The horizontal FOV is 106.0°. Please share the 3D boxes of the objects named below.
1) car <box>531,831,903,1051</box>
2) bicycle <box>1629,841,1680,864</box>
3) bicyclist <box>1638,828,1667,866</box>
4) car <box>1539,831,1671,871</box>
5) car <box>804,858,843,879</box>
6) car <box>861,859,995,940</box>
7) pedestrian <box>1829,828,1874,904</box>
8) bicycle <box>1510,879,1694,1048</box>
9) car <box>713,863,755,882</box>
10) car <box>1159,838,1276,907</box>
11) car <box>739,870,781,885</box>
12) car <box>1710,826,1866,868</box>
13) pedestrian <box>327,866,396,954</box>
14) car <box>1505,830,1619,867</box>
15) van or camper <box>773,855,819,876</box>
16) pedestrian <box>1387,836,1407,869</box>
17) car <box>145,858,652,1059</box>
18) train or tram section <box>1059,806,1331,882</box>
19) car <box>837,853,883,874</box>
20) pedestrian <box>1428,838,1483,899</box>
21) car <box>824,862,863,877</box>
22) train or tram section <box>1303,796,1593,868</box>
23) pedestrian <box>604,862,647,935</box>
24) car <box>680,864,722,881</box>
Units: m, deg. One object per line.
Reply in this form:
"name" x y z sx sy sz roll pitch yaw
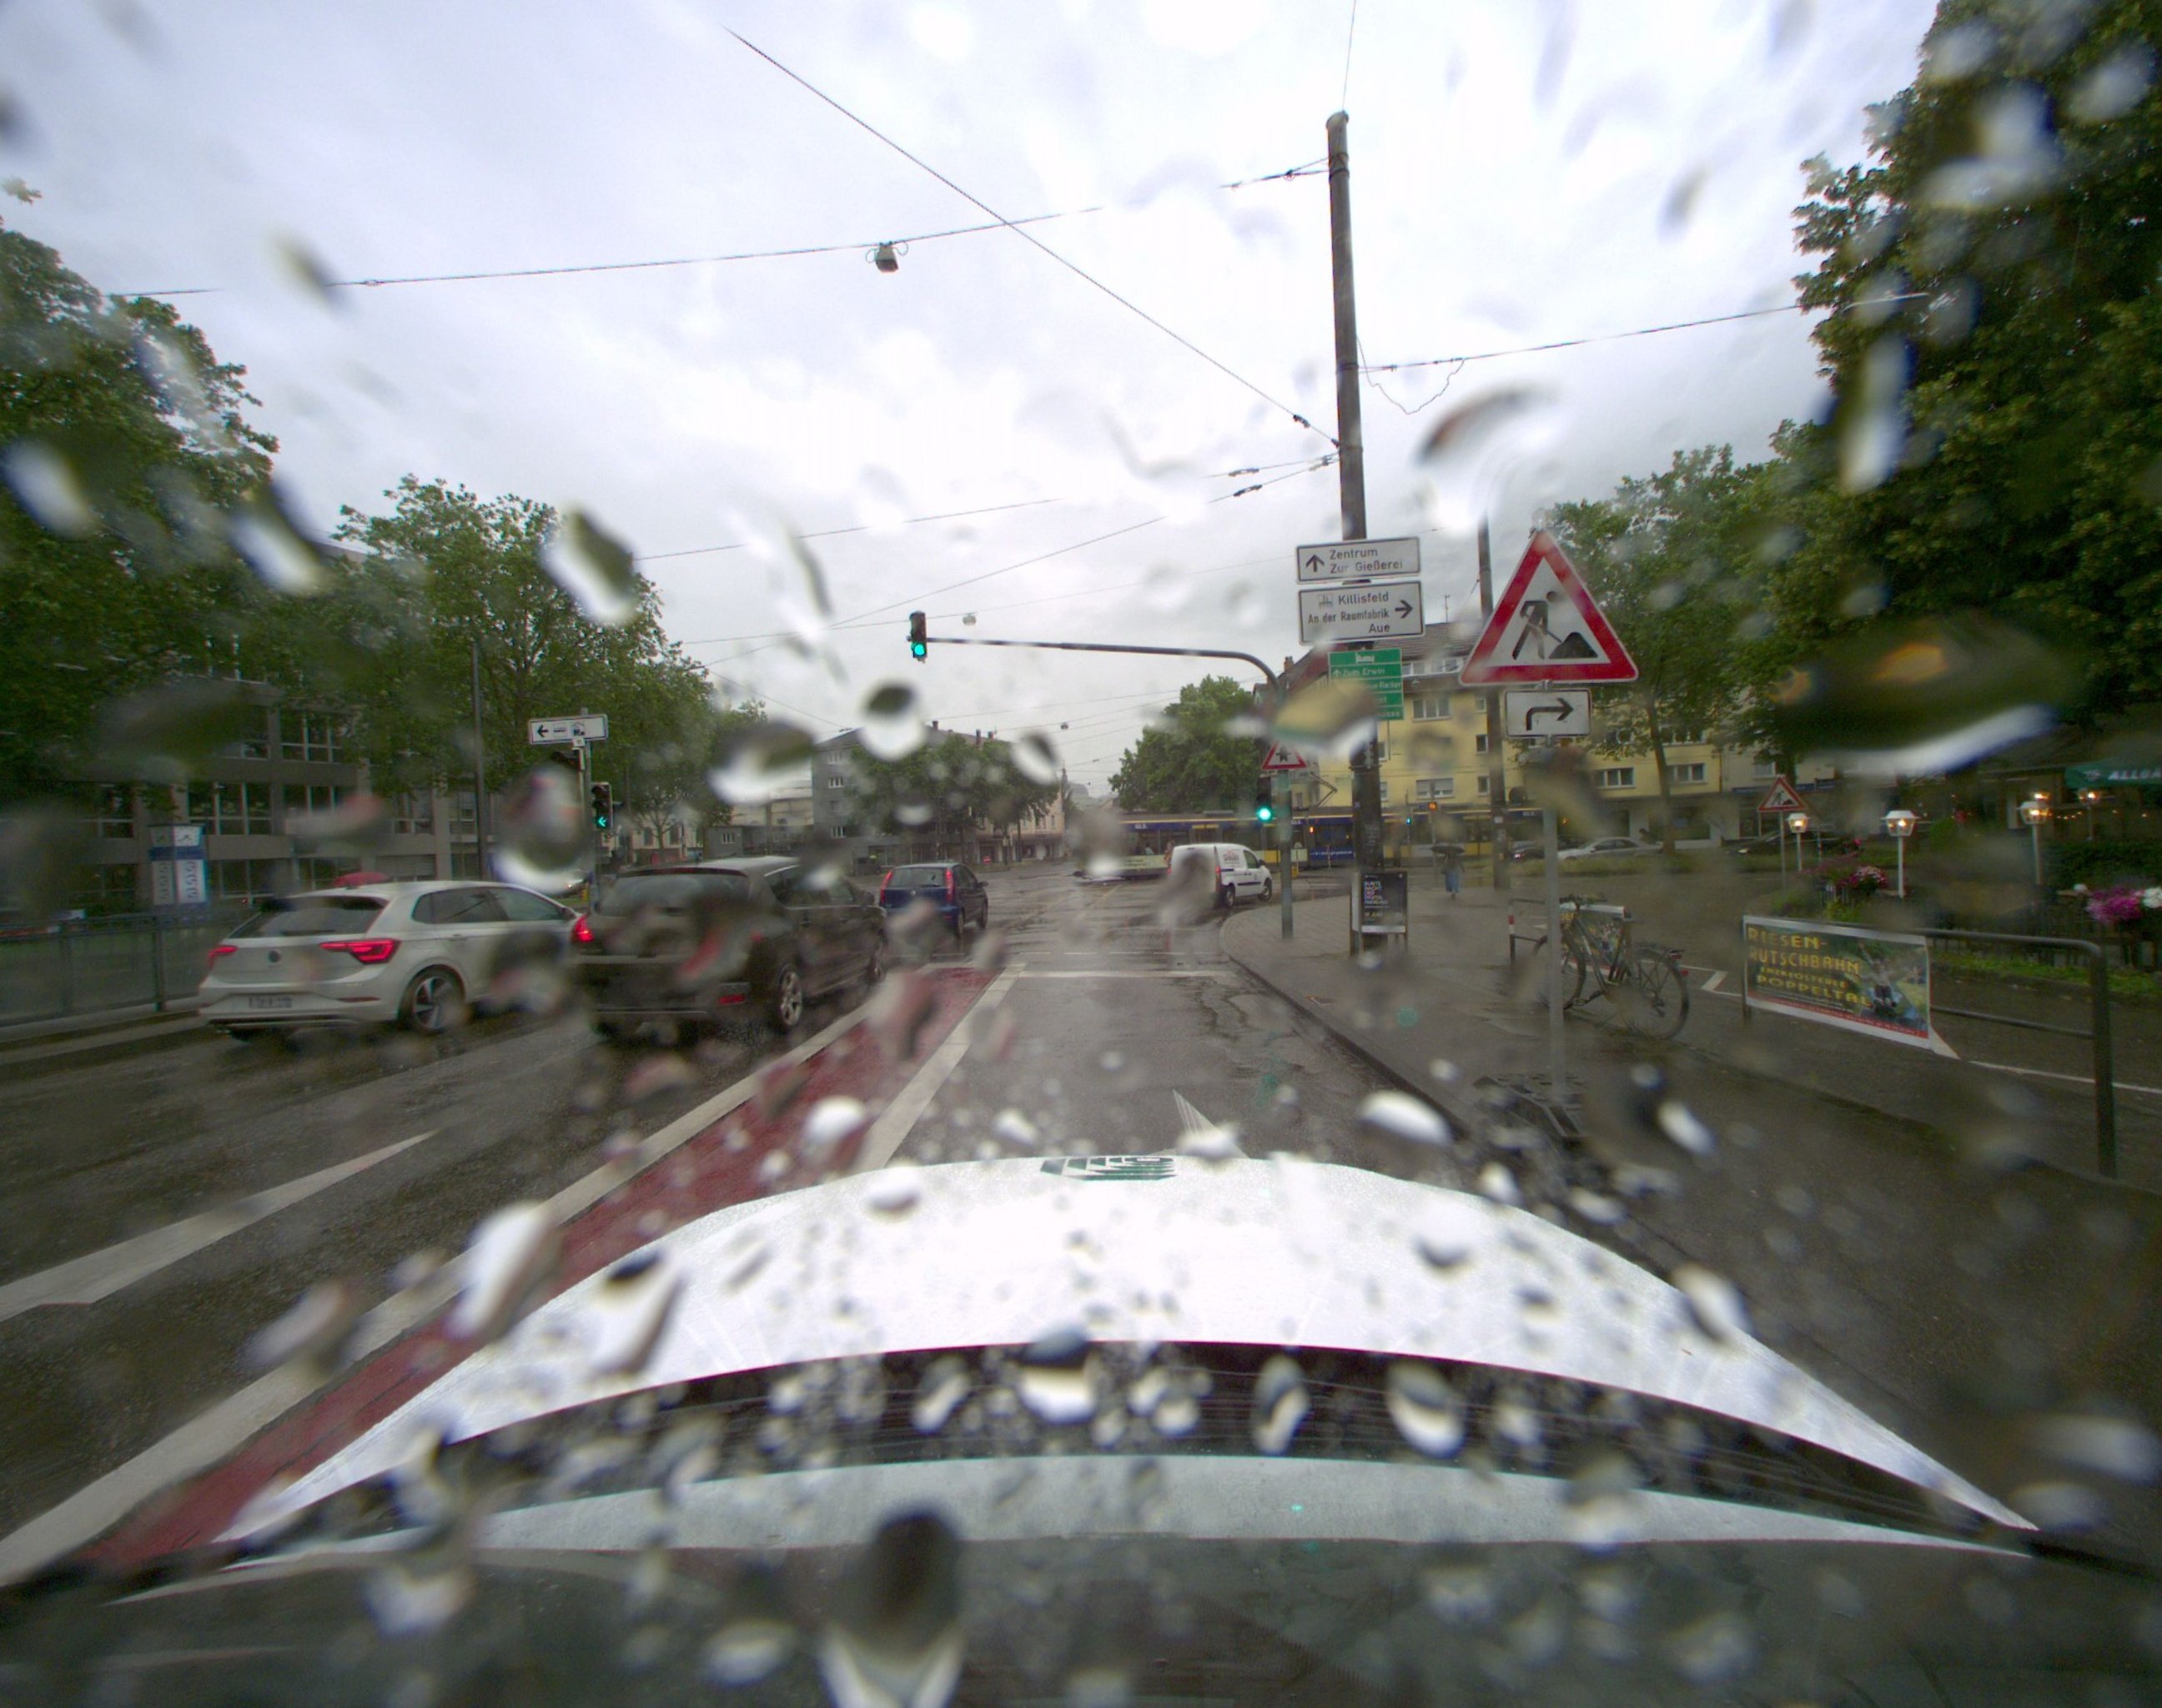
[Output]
"car" -3.342 0.652 8.535 1.794 1.709 4.194 -1 1 3
"bicycle" 26.695 -0.070 37.956 1.798 1.031 0.722 -1 1 12
"bicyclist" 26.623 -0.338 37.971 0.881 1.716 0.717 -1 1 12
"car" 22.600 -0.135 35.295 4.452 1.489 1.747 -2 1 15
"car" -27.861 1.575 88.245 1.977 2.013 4.019 -2 1 18
"car" -3.037 0.888 16.955 1.875 1.459 3.834 -1 -2 3
"pedestrian" 17.088 0.261 18.068 0.546 1.644 0.389 -4 0 3
"bicycle" 4.354 0.847 6.964 0.420 1.168 1.793 0 1 0
"car" -39.502 2.098 92.695 1.974 2.014 4.025 -1 -1 31
"car" 4.115 0.469 23.986 1.885 1.797 4.140 -1 1 33
"car" -35.670 2.575 90.548 1.975 1.614 4.023 -2 -2 27
"car" 29.476 -0.300 34.121 4.590 1.485 1.870 -2 1 15
"pedestrian" -15.001 1.136 16.998 0.954 1.711 0.820 -3 1 -37
"car" 22.651 -0.265 38.492 4.243 1.501 1.885 -2 1 10
"van or camper" -30.897 1.215 88.421 1.975 2.075 4.682 -2 0 25
"pedestrian" 16.809 -0.076 43.331 0.804 1.677 1.023 -2 0 28
"car" -6.805 0.888 8.890 1.799 1.536 4.194 -2 1 3
"train or tram section" 6.238 -0.666 43.573 14.571 3.558 3.097 -2 1 -19
"car" -23.244 1.017 85.839 2.041 2.013 4.426 -1 1 32
"pedestrian" 10.513 0.390 22.886 1.003 1.666 1.092 -2 1 -44
"car" -25.532 1.658 87.690 1.933 1.625 4.020 -1 -1 20
"train or tram section" 20.154 -1.203 45.508 14.559 3.558 3.120 -1 1 4
"pedestrian" -10.599 1.018 18.952 0.739 1.610 0.710 -3 1 -37
"car" -44.935 2.137 96.433 1.974 1.763 4.026 -2 1 32
